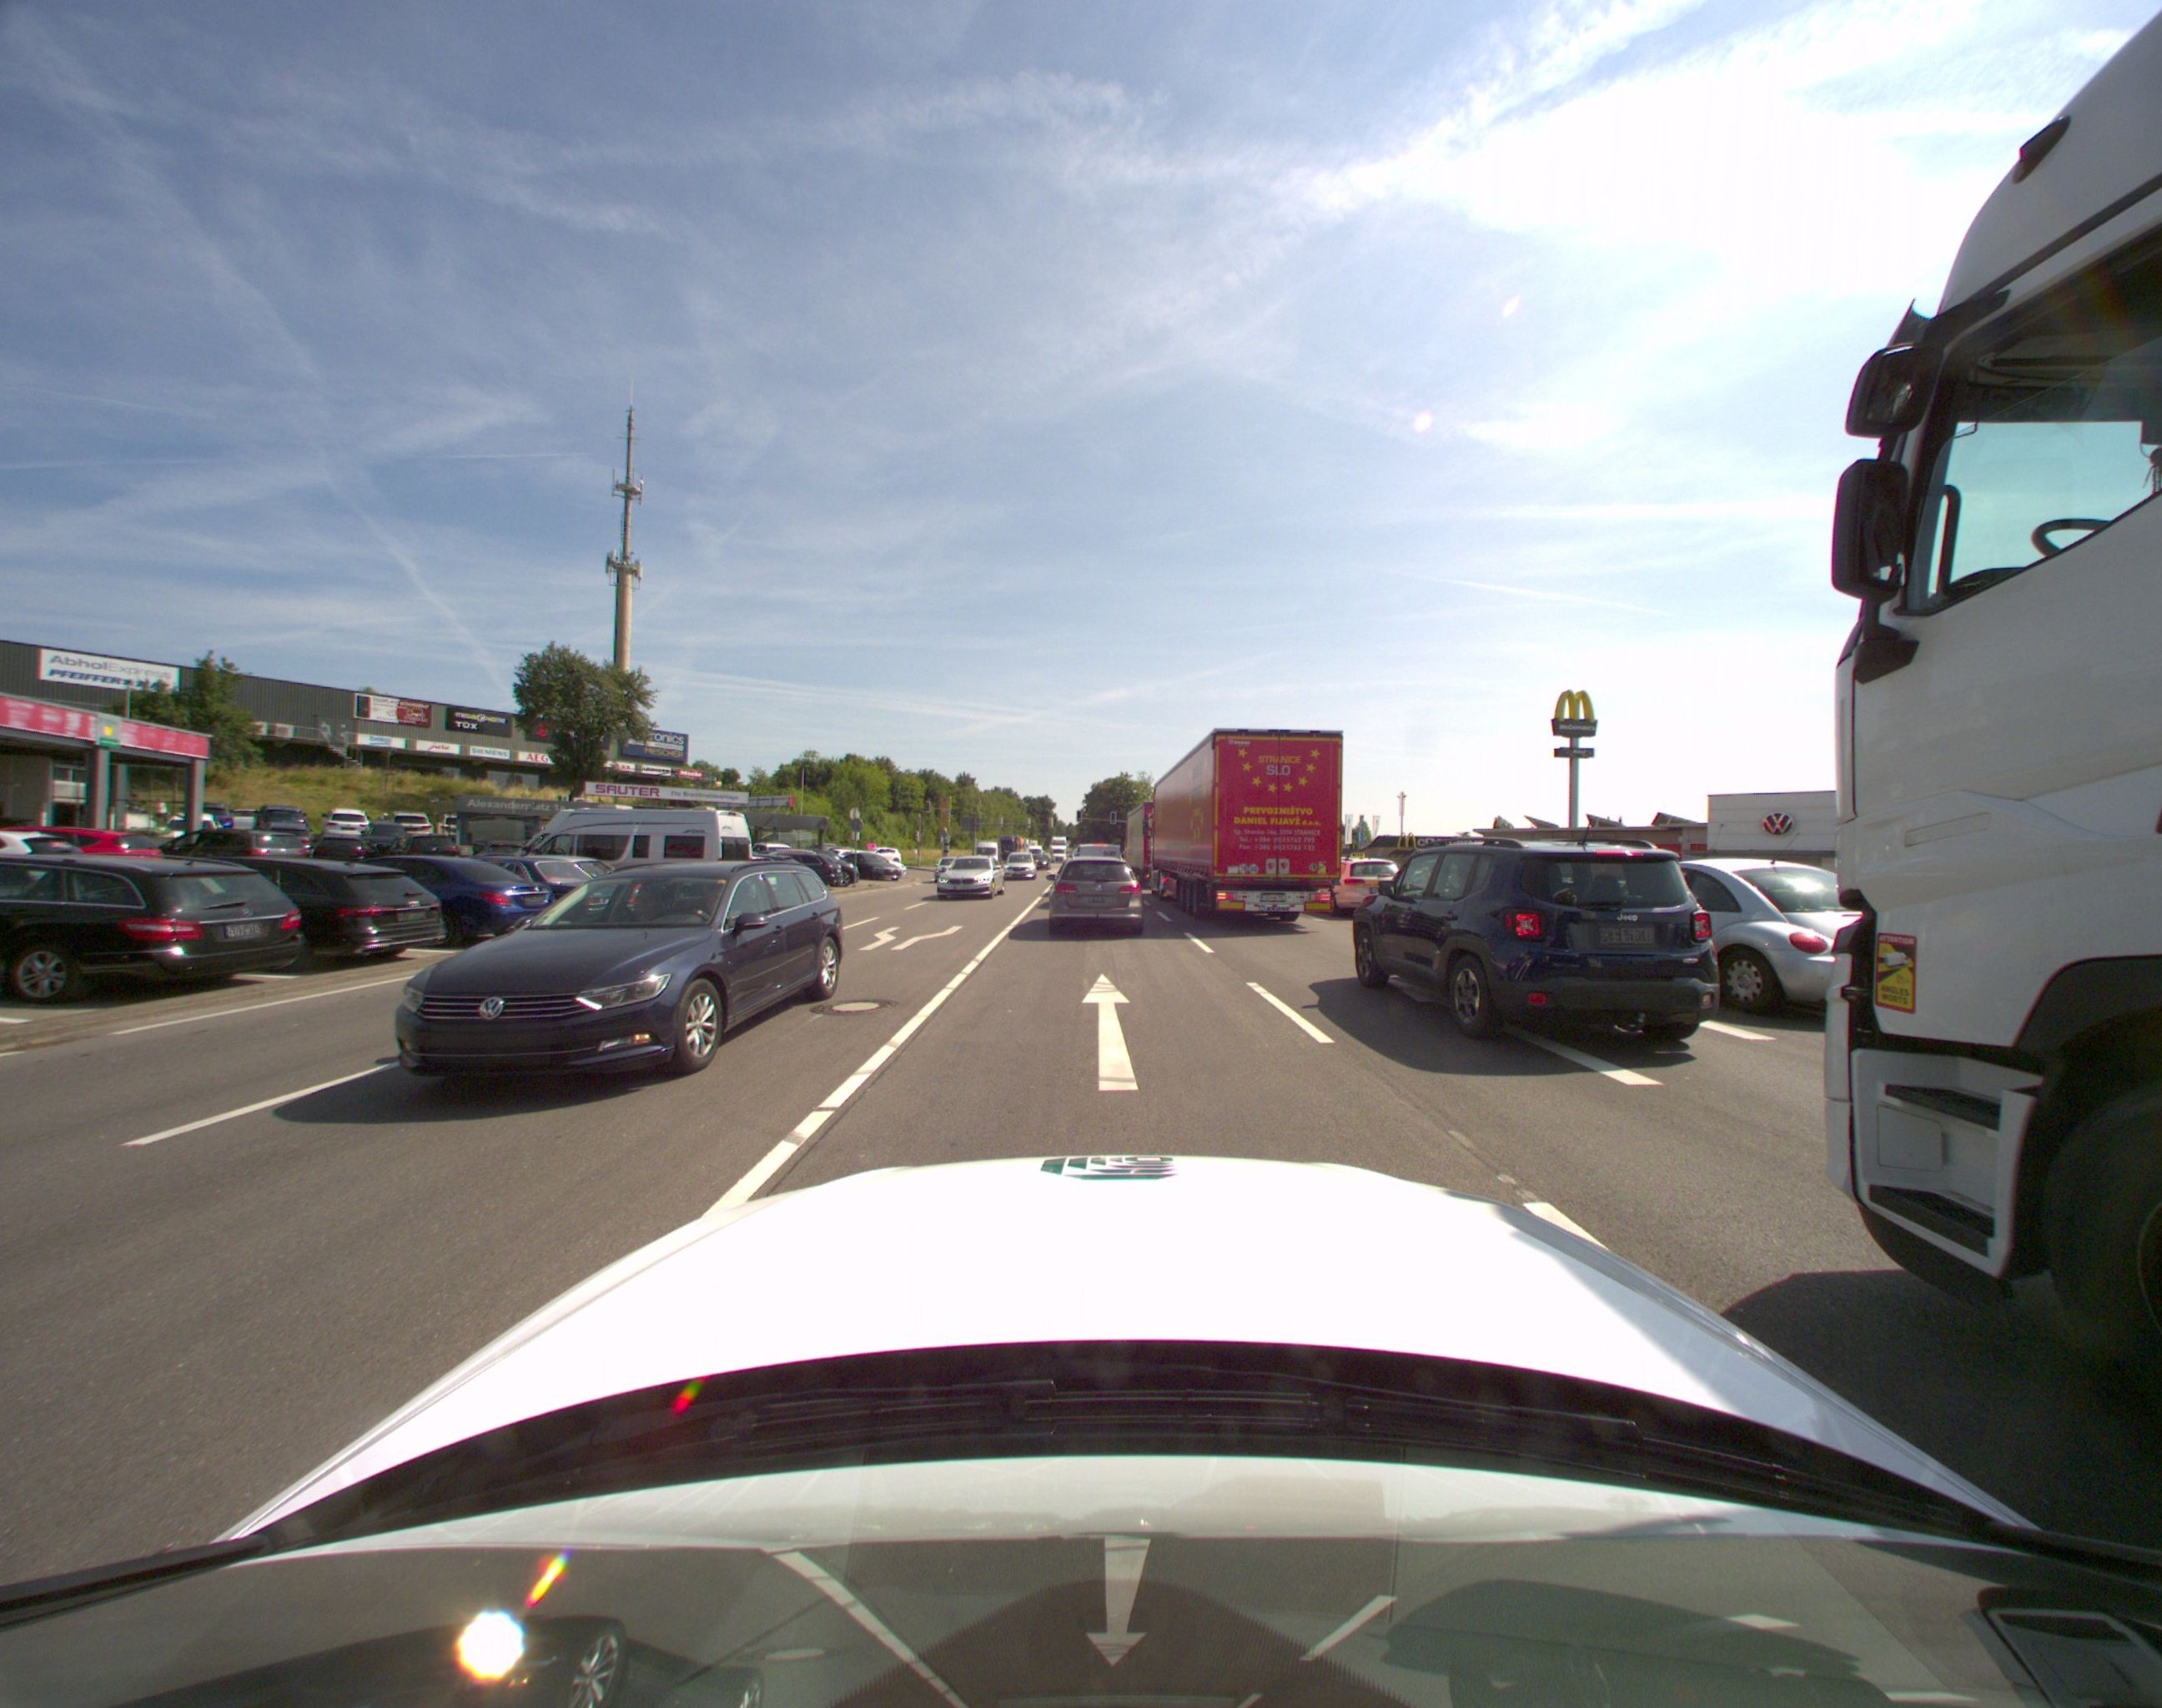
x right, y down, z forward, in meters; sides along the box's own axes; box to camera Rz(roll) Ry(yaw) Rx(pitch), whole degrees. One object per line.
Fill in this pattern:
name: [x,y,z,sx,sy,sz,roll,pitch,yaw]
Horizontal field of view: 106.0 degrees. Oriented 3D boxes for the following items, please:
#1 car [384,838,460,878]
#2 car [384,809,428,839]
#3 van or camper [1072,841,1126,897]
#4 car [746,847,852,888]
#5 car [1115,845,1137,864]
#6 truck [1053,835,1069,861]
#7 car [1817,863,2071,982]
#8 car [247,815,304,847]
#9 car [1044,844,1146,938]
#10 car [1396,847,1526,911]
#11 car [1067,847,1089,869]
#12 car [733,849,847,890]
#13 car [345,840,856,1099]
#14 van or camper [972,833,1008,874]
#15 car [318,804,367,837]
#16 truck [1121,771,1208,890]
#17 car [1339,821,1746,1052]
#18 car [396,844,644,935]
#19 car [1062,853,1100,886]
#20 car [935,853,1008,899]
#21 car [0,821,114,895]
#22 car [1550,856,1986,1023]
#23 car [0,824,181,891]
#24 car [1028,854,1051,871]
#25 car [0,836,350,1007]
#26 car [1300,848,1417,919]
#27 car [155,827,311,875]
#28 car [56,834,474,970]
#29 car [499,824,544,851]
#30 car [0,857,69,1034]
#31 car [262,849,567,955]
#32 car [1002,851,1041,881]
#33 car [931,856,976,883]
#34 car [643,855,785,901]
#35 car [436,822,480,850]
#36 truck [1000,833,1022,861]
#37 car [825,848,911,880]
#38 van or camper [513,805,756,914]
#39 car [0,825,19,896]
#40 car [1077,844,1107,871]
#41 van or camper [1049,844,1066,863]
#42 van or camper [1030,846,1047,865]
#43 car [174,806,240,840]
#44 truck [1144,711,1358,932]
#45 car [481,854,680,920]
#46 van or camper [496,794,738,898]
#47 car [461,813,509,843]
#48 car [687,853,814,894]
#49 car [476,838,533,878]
car: [-27.177,0.159,33.554,3.780,1.588,1.780,0,0,40]
car: [-36.825,-1.595,44.404,1.745,1.450,3.705,2,-1,-41]
van or camper: [0.626,0.519,30.308,1.846,1.906,3.784,1,0,0]
car: [-11.807,0.569,34.320,3.805,1.675,1.842,0,0,-1]
car: [3.834,0.050,70.121,1.721,1.519,3.311,1,-1,0]
truck: [-3.341,-0.975,137.176,2.544,4.307,7.595,-1,0,0]
car: [12.443,0.867,11.694,4.051,1.402,1.721,1,0,-32]
car: [-40.375,-1.120,40.894,1.745,1.450,3.705,2,-1,-41]
car: [0.361,0.660,16.018,1.782,1.638,3.507,0,0,3]
car: [12.174,0.765,26.072,3.852,1.921,1.689,1,0,-25]
car: [-0.256,0.400,75.036,1.719,1.909,3.315,1,-1,3]
car: [-11.388,0.594,32.032,3.805,1.539,1.842,0,0,-1]
car: [-3.514,0.697,7.124,1.800,1.560,4.387,0,0,1]
van or camper: [-7.463,-0.081,67.561,2.201,3.055,5.899,6,0,-1]
car: [-38.611,-1.713,42.658,1.745,1.537,3.705,2,-1,-41]
truck: [4.142,-1.050,44.636,3.052,5.220,17.006,1,0,0]
car: [4.011,0.604,7.960,1.812,1.685,4.002,0,0,2]
car: [-11.260,0.691,16.547,3.697,1.484,1.707,4,0,-2]
car: [0.049,0.769,40.045,1.720,1.519,3.313,1,-1,2]
car: [-3.828,0.735,29.157,1.903,1.521,4.781,0,0,1]
car: [-24.630,0.080,17.970,3.833,1.588,1.756,0,0,-23]
car: [7.208,0.758,9.187,1.652,1.472,4.002,0,0,2]
car: [-25.603,0.075,20.299,3.833,1.588,1.756,0,0,-23]
car: [-3.677,0.737,72.307,1.660,1.409,3.927,-1,0,2]
car: [-11.360,0.663,9.177,4.446,1.484,1.771,4,0,-2]
car: [7.124,0.700,21.335,1.812,1.685,4.002,0,0,2]
car: [-28.910,-0.103,27.823,3.795,1.588,1.773,0,0,8]
car: [-11.148,0.620,11.378,3.834,1.484,1.801,4,0,-2]
car: [-32.738,-0.952,47.637,1.745,1.450,3.705,2,-1,-41]
car: [-11.446,0.661,6.484,4.286,1.484,1.797,4,0,-2]
car: [-11.217,0.768,13.907,3.697,1.555,1.707,2,1,-2]
car: [-3.526,0.708,48.872,1.902,1.663,4.182,-1,0,2]
car: [-7.253,0.857,46.762,1.830,1.448,4.082,0,0,2]
car: [-11.977,0.767,26.796,3.805,1.448,1.842,0,0,-1]
car: [-35.046,-0.964,45.761,1.745,1.450,3.705,2,-1,-41]
truck: [-9.694,-0.970,113.249,2.807,3.786,6.981,-1,0,-4]
car: [-11.874,0.538,45.358,4.470,1.693,2.145,0,0,32]
van or camper: [-11.804,0.138,21.816,5.226,2.731,2.211,1,0,1]
car: [-23.406,0.137,15.280,3.833,1.431,1.756,0,0,-23]
car: [0.652,0.249,48.510,1.721,1.519,3.312,1,-1,1]
van or camper: [-3.468,-0.027,122.250,2.217,2.841,5.710,1,-1,0]
van or camper: [-5.809,0.228,111.706,2.166,2.551,4.169,1,0,0]
car: [-42.105,-1.465,39.302,1.745,1.450,3.705,2,-1,-41]
truck: [3.975,-0.632,24.191,2.947,4.269,16.583,1,0,0]
car: [-11.789,0.747,19.340,3.581,1.480,1.813,0,0,1]
van or camper: [-13.702,-0.244,24.337,5.872,2.873,2.290,1,0,0]
car: [-31.861,-1.362,43.523,1.745,1.450,3.705,2,-1,-41]
car: [-11.821,0.685,29.342,3.805,1.448,1.842,0,0,-1]
car: [-24.466,0.173,34.660,1.775,1.588,3.790,0,0,-33]
